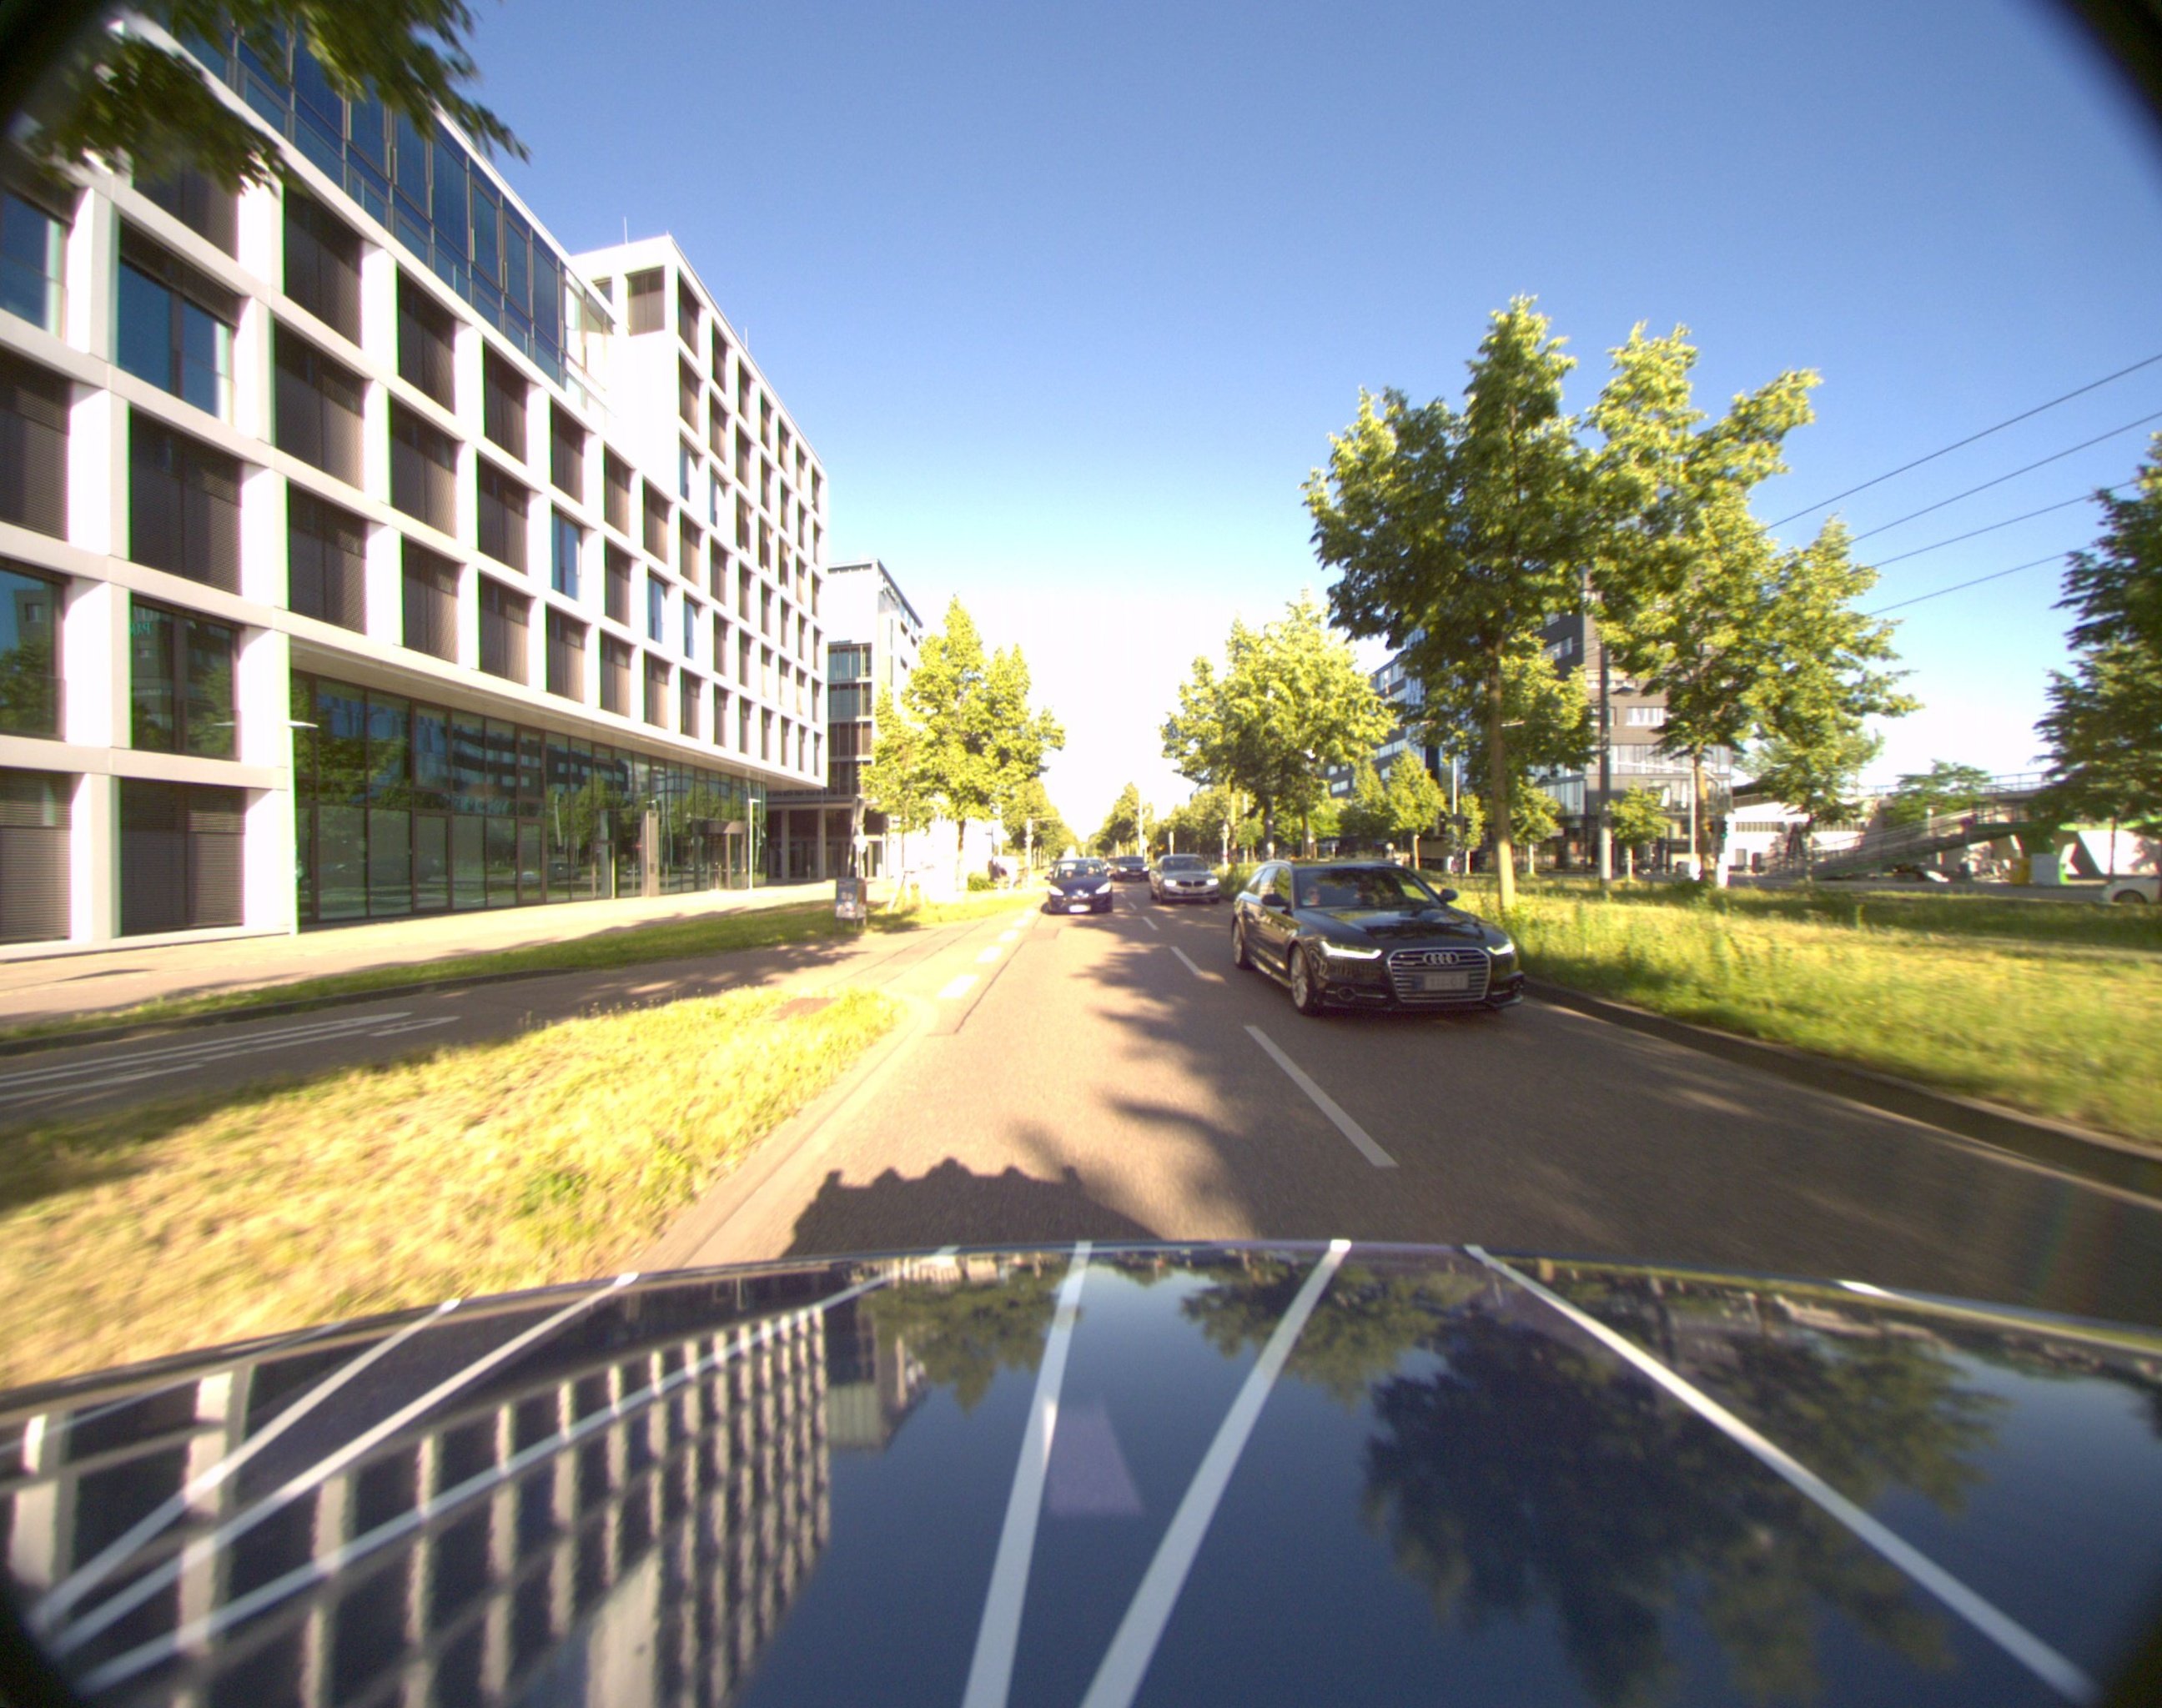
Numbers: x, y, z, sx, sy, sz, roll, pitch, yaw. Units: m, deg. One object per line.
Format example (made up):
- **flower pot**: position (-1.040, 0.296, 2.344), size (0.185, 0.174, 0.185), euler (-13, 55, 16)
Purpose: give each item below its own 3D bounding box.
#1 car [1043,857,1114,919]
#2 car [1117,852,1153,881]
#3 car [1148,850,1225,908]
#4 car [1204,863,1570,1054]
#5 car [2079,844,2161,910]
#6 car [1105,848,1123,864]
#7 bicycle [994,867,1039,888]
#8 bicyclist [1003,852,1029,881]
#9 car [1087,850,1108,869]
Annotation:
- **car**: position (0.006, 0.881, 21.551), size (1.766, 1.462, 4.000), euler (-2, 1, 2)
- **car**: position (3.119, 0.668, 44.545), size (1.950, 1.514, 4.000), euler (-2, 1, 3)
- **car**: position (3.269, 0.718, 24.283), size (1.886, 1.569, 4.277), euler (-2, 1, 1)
- **car**: position (2.822, 0.855, 8.524), size (1.958, 1.471, 5.084), euler (-1, -1, -1)
- **car**: position (31.674, 0.655, 21.082), size (2.106, 1.798, 4.420), euler (-2, 1, -2)
- **car**: position (3.580, 0.186, 82.651), size (1.782, 1.571, 3.783), euler (-2, 1, 0)
- **bicycle**: position (-2.908, 1.070, 34.455), size (1.927, 0.899, 0.647), euler (-1, 0, 3)
- **bicyclist**: position (-2.938, 0.552, 34.451), size (1.086, 1.315, 0.639), euler (-1, 1, 3)
- **car**: position (1.499, 0.448, 68.351), size (1.782, 1.571, 3.783), euler (-2, 1, 1)
